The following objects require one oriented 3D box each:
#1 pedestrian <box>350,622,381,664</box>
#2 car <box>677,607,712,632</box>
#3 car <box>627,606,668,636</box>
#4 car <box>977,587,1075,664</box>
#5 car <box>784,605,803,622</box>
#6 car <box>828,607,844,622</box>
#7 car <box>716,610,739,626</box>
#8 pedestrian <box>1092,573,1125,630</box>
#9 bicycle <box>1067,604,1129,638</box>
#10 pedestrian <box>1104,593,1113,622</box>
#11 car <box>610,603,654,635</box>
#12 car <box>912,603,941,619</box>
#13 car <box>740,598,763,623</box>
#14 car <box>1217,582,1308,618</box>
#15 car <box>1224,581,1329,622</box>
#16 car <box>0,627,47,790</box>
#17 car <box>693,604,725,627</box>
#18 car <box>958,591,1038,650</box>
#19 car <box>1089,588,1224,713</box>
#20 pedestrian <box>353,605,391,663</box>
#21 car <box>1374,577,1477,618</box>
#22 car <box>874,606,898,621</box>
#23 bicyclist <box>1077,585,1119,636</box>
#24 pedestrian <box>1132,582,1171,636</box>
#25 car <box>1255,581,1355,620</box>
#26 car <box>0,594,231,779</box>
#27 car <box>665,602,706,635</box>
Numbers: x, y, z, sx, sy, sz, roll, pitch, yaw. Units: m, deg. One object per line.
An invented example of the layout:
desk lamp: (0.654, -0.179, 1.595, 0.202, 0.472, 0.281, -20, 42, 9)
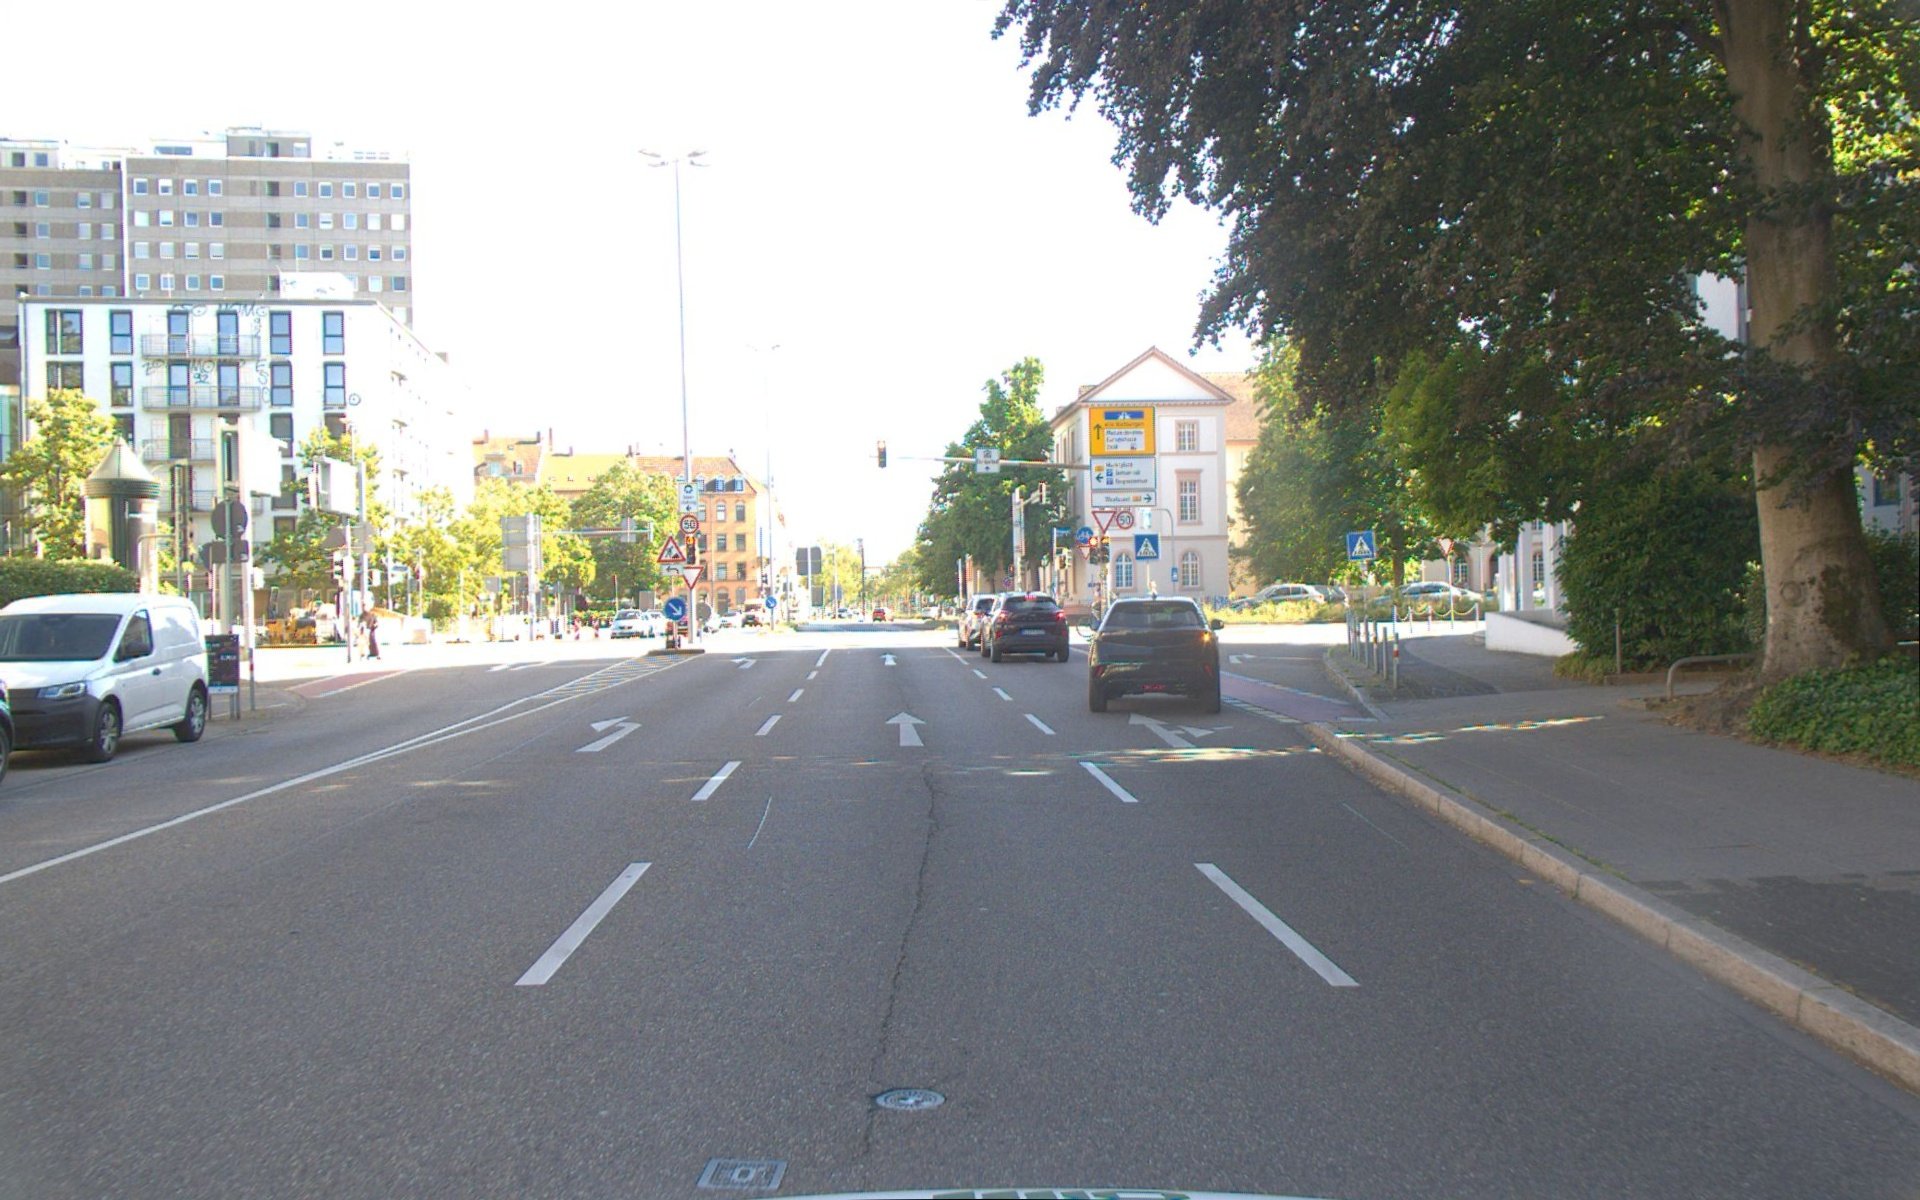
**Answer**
pedestrian: (-17.345, 1.252, 48.233, 0.657, 1.186, 0.667, -2, 0, -37)
car: (-16.707, 1.220, 104.201, 1.838, 1.473, 3.997, -2, 0, -4)
car: (-18.184, 1.207, 96.392, 1.838, 1.645, 3.997, -2, 0, -4)
car: (1.456, 0.542, 37.674, 1.794, 1.606, 3.836, -2, 0, -4)
car: (-17.052, 1.393, 169.587, 1.775, 1.662, 3.997, -2, 0, -4)
car: (-14.272, 1.663, 189.827, 1.775, 1.662, 3.997, -2, 0, -4)
car: (-21.932, 1.693, 156.105, 1.838, 1.473, 3.997, -2, 0, -4)
pedestrian: (4.639, 0.046, 51.759, 0.810, 1.731, 0.916, -1, 0, -10)
bicycle: (4.526, 0.682, 54.197, 2.006, 1.079, 0.617, -1, 0, -26)
pedestrian: (8.438, 0.441, 93.869, 0.431, 1.643, 0.467, 1, -1, 2)
car: (-17.730, 1.013, 89.603, 1.838, 1.645, 3.997, -2, 0, -4)
car: (-3.949, 1.278, 194.601, 2.130, 1.728, 4.002, -2, 0, 19)
car: (-18.919, 0.963, 150.161, 1.775, 2.172, 3.997, -2, 0, -4)
car: (14.885, 0.011, 81.461, 4.040, 1.629, 1.817, -2, 0, -11)
car: (13.668, 0.044, 71.487, 4.040, 1.629, 1.817, -2, 0, -11)
car: (-9.598, 1.030, 13.985, 1.638, 1.482, 4.108, -1, 0, -4)
car: (-17.353, 1.081, 114.591, 1.838, 1.473, 3.997, -2, 0, -4)
car: (0.980, 0.510, 44.649, 1.794, 1.478, 3.985, -2, 0, -4)
car: (2.766, 0.642, 22.970, 1.708, 1.601, 3.561, 0, 0, 8)
pedestrian: (-17.552, 1.016, 49.340, 0.664, 1.678, 0.827, -1, 0, 42)
car: (20.502, -0.121, 72.936, 3.913, 1.672, 1.919, -2, 0, -9)
car: (-8.010, 1.441, 179.464, 1.771, 1.431, 4.004, -2, 0, 10)
bicyclist: (4.522, 0.341, 54.192, 1.150, 1.662, 0.724, -1, 0, -25)
pedestrian: (6.085, 0.280, 52.520, 1.021, 1.689, 0.782, -2, 0, -8)
car: (15.696, 0.014, 75.247, 4.040, 1.629, 1.817, -2, 0, -11)
car: (-10.142, 0.887, 19.144, 1.784, 1.866, 4.556, -1, 0, -6)
car: (-14.573, 0.956, 87.955, 1.756, 1.645, 3.997, -2, 0, -4)
